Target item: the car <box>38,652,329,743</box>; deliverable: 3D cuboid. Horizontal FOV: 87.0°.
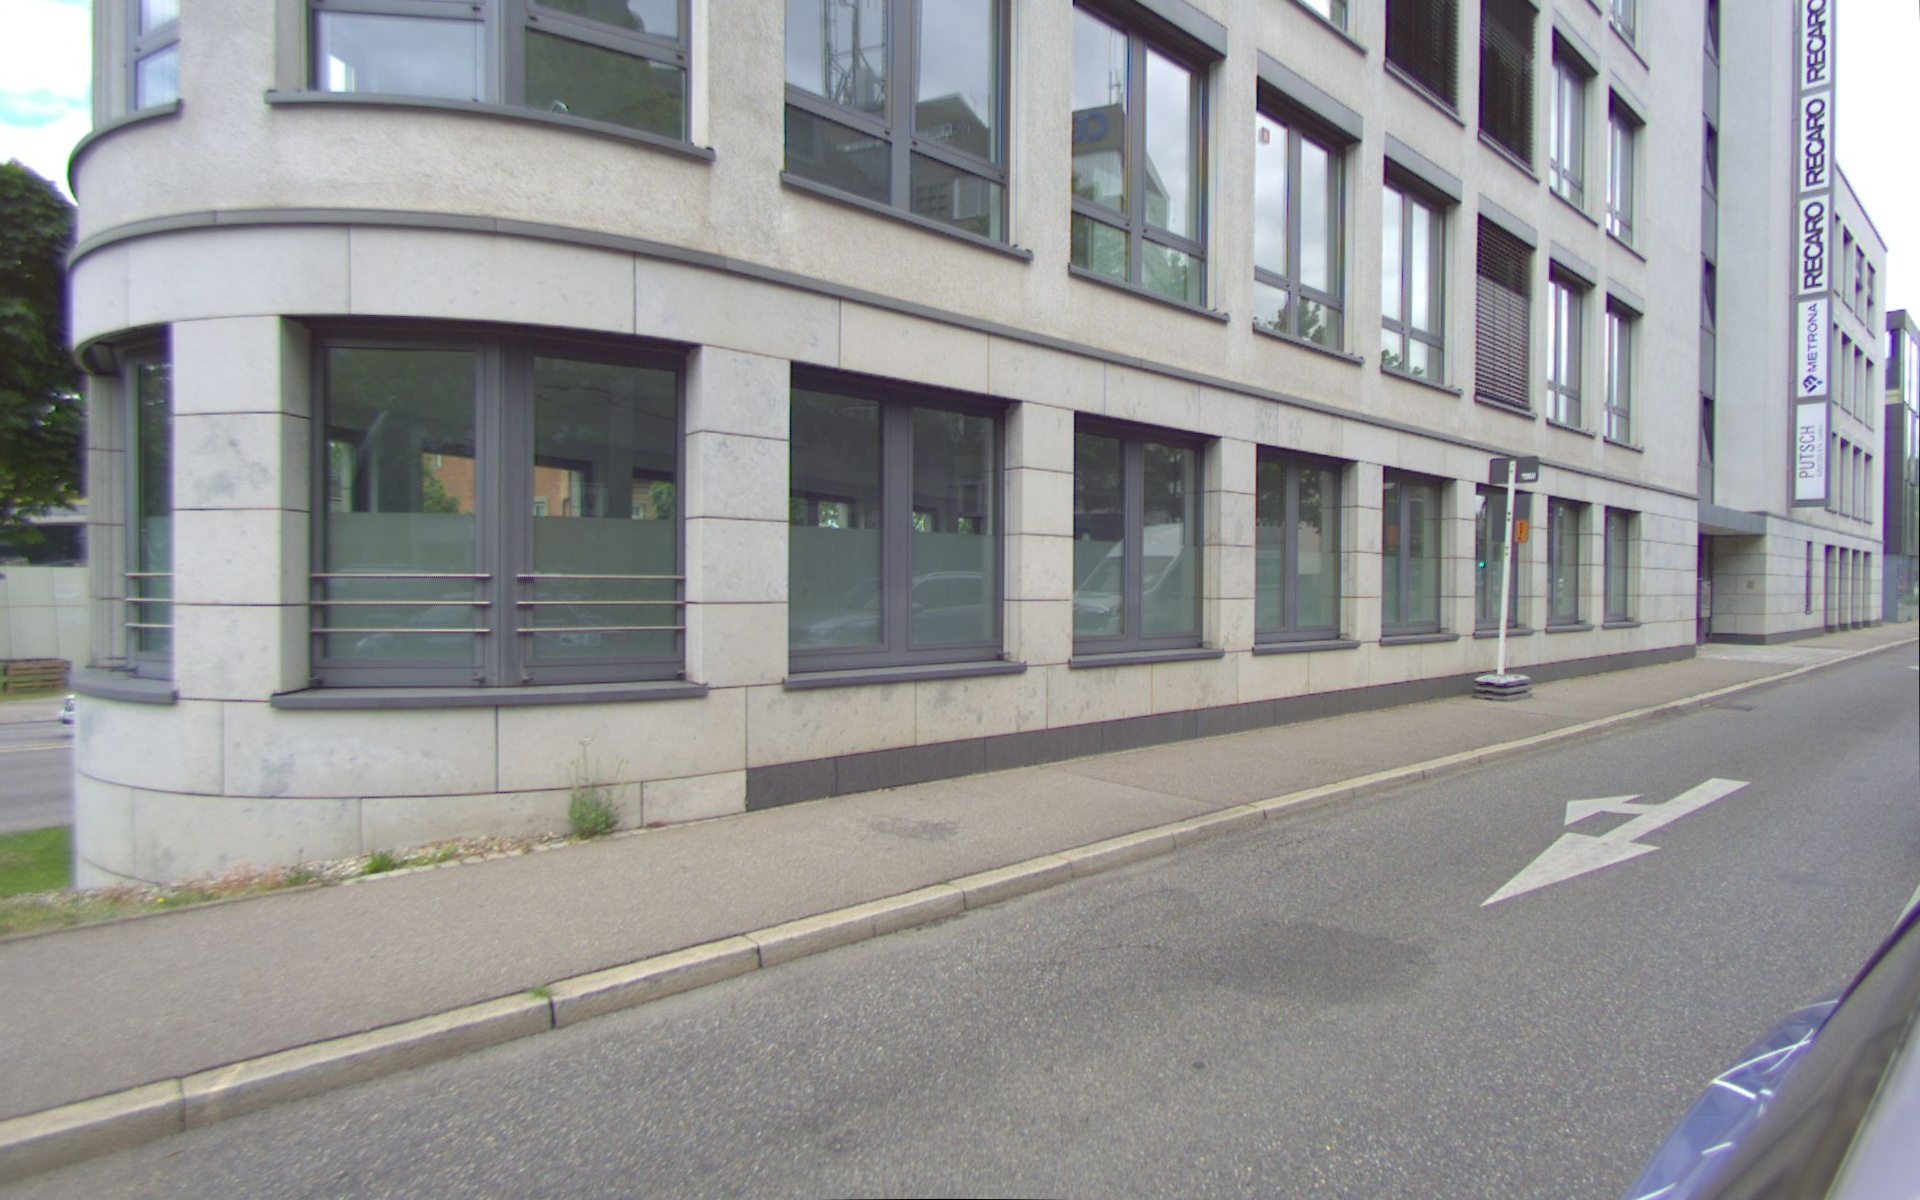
[{"bbox_3d":[-15.102,1.820,19.950,1.741,1.394,4.241,-1,-1,30],"label":"car"}]
